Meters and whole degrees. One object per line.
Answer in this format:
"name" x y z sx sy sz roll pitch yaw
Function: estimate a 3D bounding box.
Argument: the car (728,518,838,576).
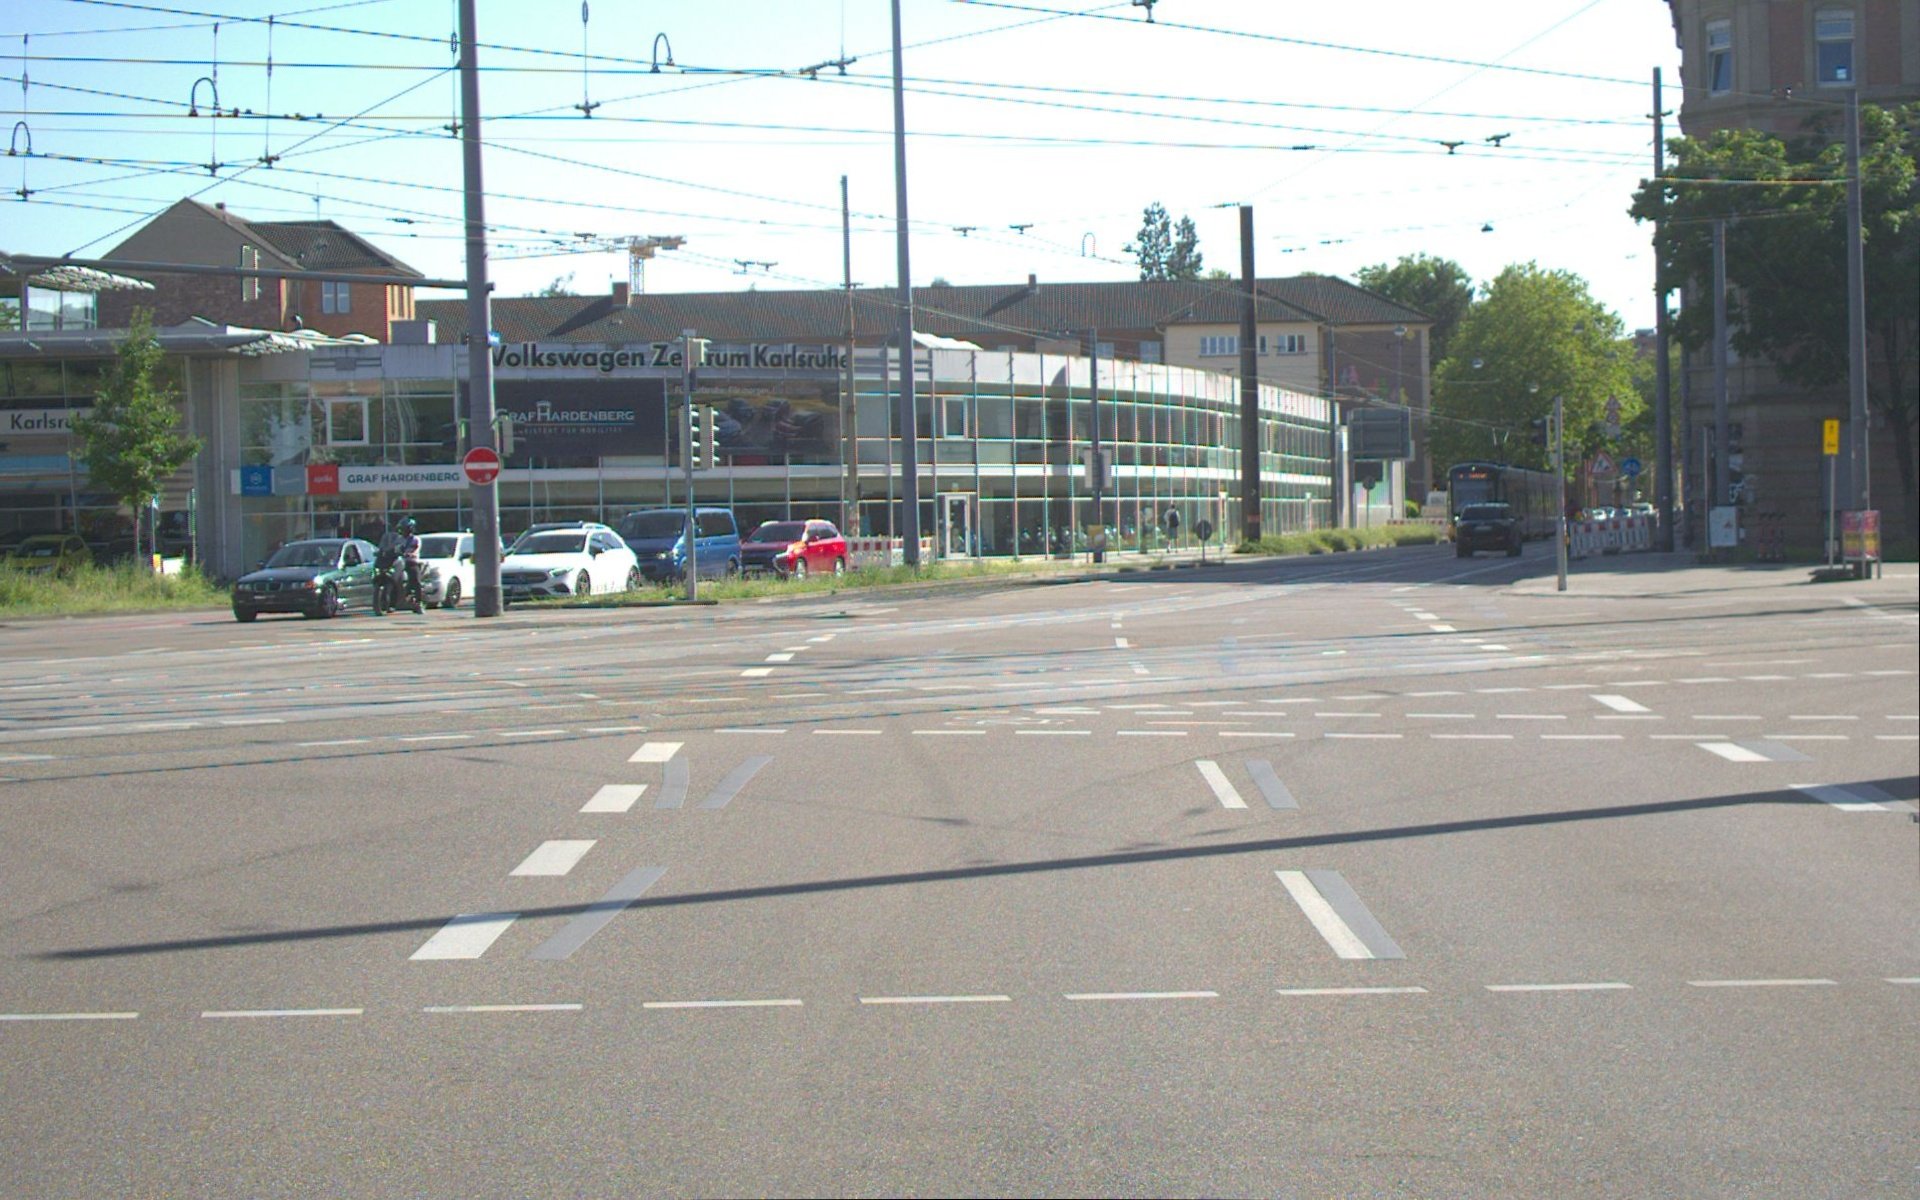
"car" -4.402 -1.343 86.078 1.627 1.359 3.683 -1 1 16

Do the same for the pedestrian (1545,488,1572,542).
"pedestrian" 18.280 -2.605 104.999 0.803 1.626 0.718 -1 1 11

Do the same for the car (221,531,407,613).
"car" -11.392 -0.513 60.869 1.705 1.349 3.698 -1 1 17

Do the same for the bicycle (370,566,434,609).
"bicycle" -9.772 -0.224 60.294 0.423 0.715 1.633 -1 1 17

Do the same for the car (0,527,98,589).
"car" -26.539 -1.234 99.867 1.966 1.700 4.084 -1 1 -1

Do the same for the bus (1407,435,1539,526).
"bus" 23.581 -5.283 156.502 3.839 3.595 24.851 1 1 13

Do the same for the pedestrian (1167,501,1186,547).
"pedestrian" 8.048 -2.830 127.593 0.543 1.683 0.630 -1 1 18

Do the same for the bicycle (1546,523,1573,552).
"bicycle" 18.256 -1.907 104.647 0.743 0.867 1.930 -1 1 11

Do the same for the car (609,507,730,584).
"car" -6.650 -1.271 78.951 1.627 1.686 3.683 -1 1 14

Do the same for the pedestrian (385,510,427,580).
"pedestrian" -9.740 -0.969 60.428 0.423 1.200 0.749 -1 1 17

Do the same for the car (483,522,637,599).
"car" -7.524 -0.765 64.939 1.627 1.377 3.735 -1 1 14

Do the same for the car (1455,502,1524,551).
"car" 16.682 -2.332 108.167 1.700 1.497 4.262 -1 1 14

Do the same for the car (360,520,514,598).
"car" -10.124 -0.816 66.820 1.627 1.419 3.683 -1 1 14
